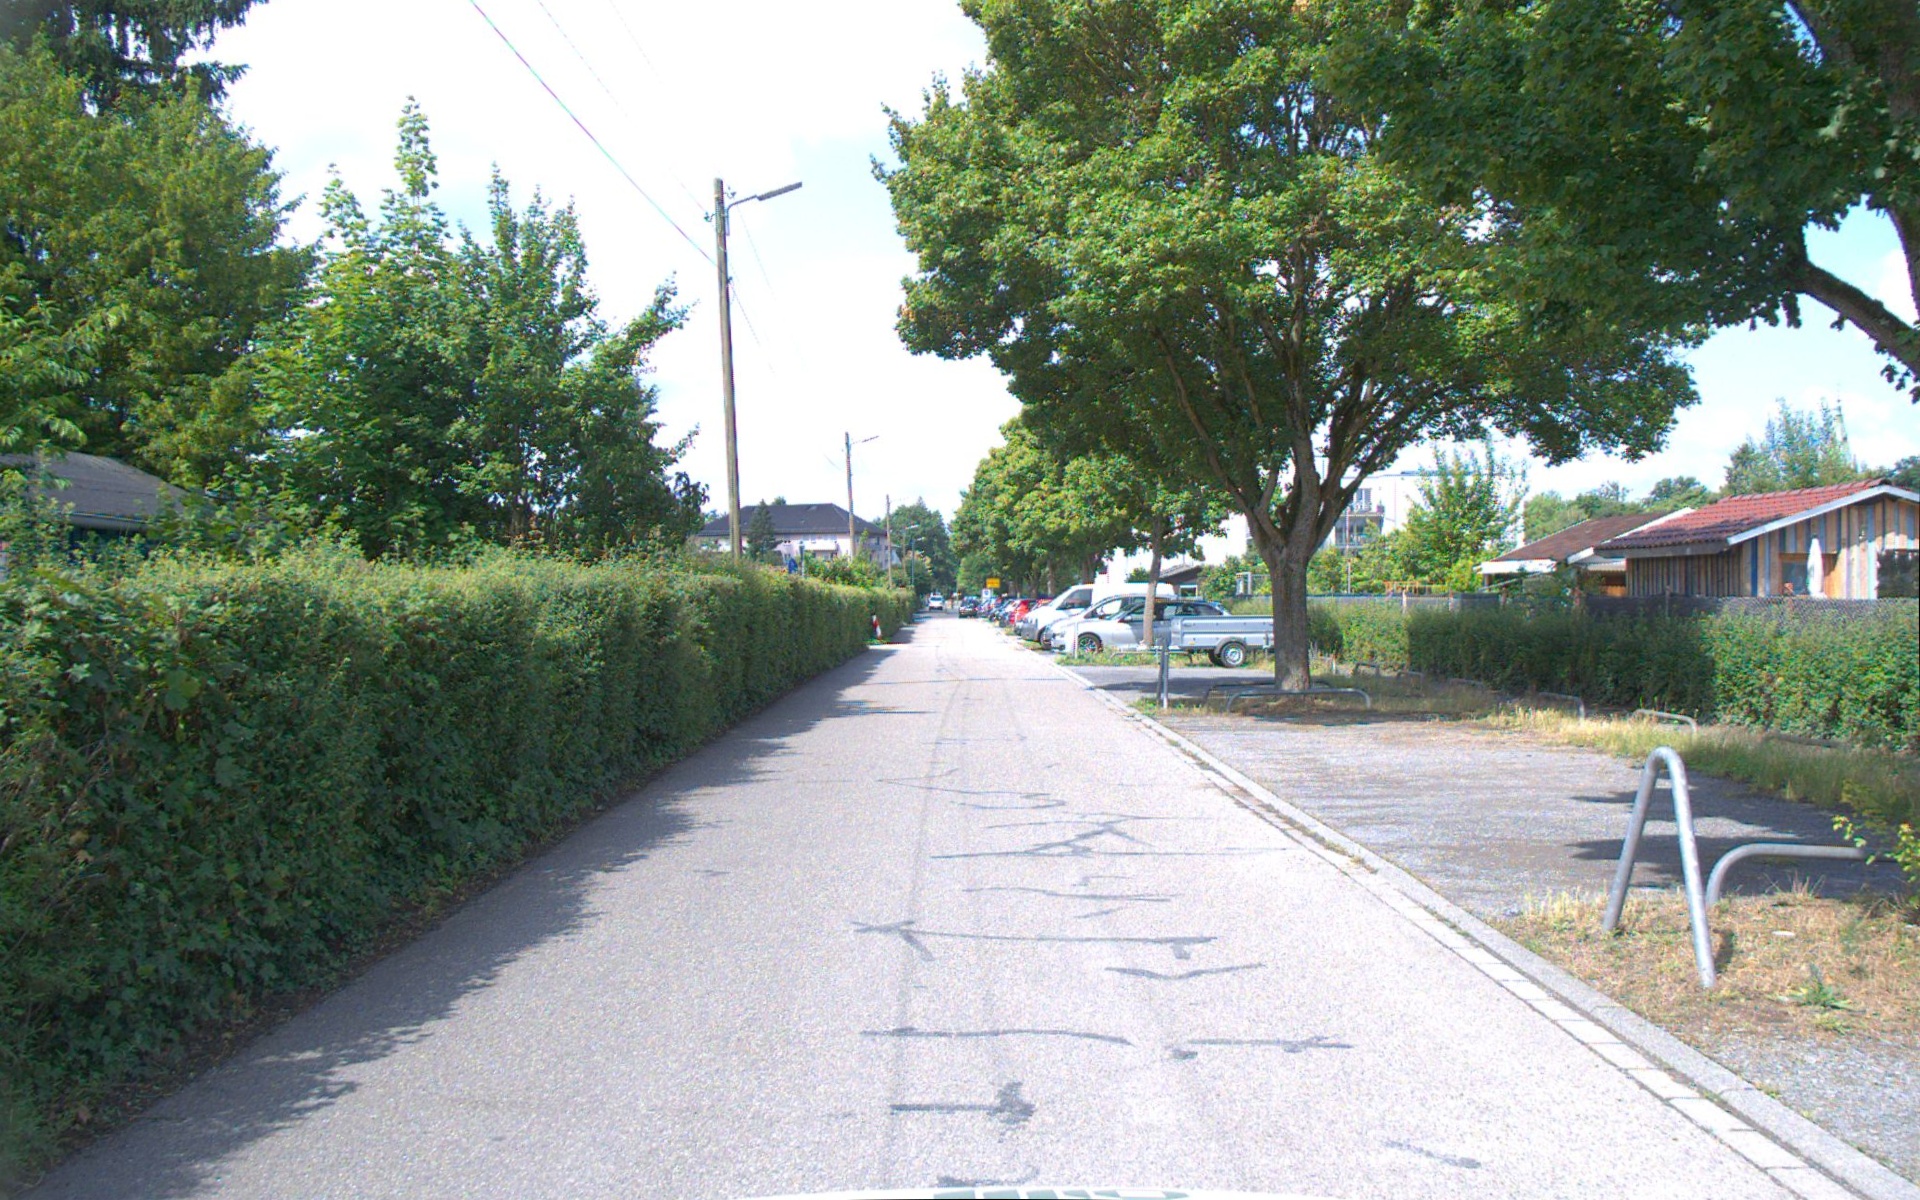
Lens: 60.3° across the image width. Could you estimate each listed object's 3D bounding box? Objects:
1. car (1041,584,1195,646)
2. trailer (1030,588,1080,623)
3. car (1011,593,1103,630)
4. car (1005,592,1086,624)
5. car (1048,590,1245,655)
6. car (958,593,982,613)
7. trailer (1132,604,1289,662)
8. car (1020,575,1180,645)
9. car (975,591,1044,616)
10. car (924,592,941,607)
[{"bbox_3d":[4.446,0.416,46.985,4.157,1.620,2.000,-2,0,0],"label":"car"},{"bbox_3d":[4.976,0.273,86.614,2.401,1.750,1.517,1,1,-4],"label":"trailer"},{"bbox_3d":[4.227,0.484,72.124,3.903,1.546,1.855,1,0,3],"label":"car"},{"bbox_3d":[4.255,0.389,82.413,3.980,1.538,1.958,1,0,2],"label":"car"},{"bbox_3d":[4.465,0.520,40.029,4.487,1.491,1.999,0,0,-4],"label":"car"},{"bbox_3d":[0.811,0.251,134.096,1.628,1.532,4.002,1,0,4],"label":"car"},{"bbox_3d":[5.298,0.682,35.304,3.037,1.162,2.000,1,0,0],"label":"trailer"},{"bbox_3d":[4.160,0.289,49.728,4.541,1.919,2.110,-2,0,-2],"label":"car"},{"bbox_3d":[3.261,0.229,109.303,4.457,1.606,1.808,1,0,-2],"label":"car"},{"bbox_3d":[-3.398,-0.029,202.550,1.863,1.846,4.001,1,0,2],"label":"car"}]
